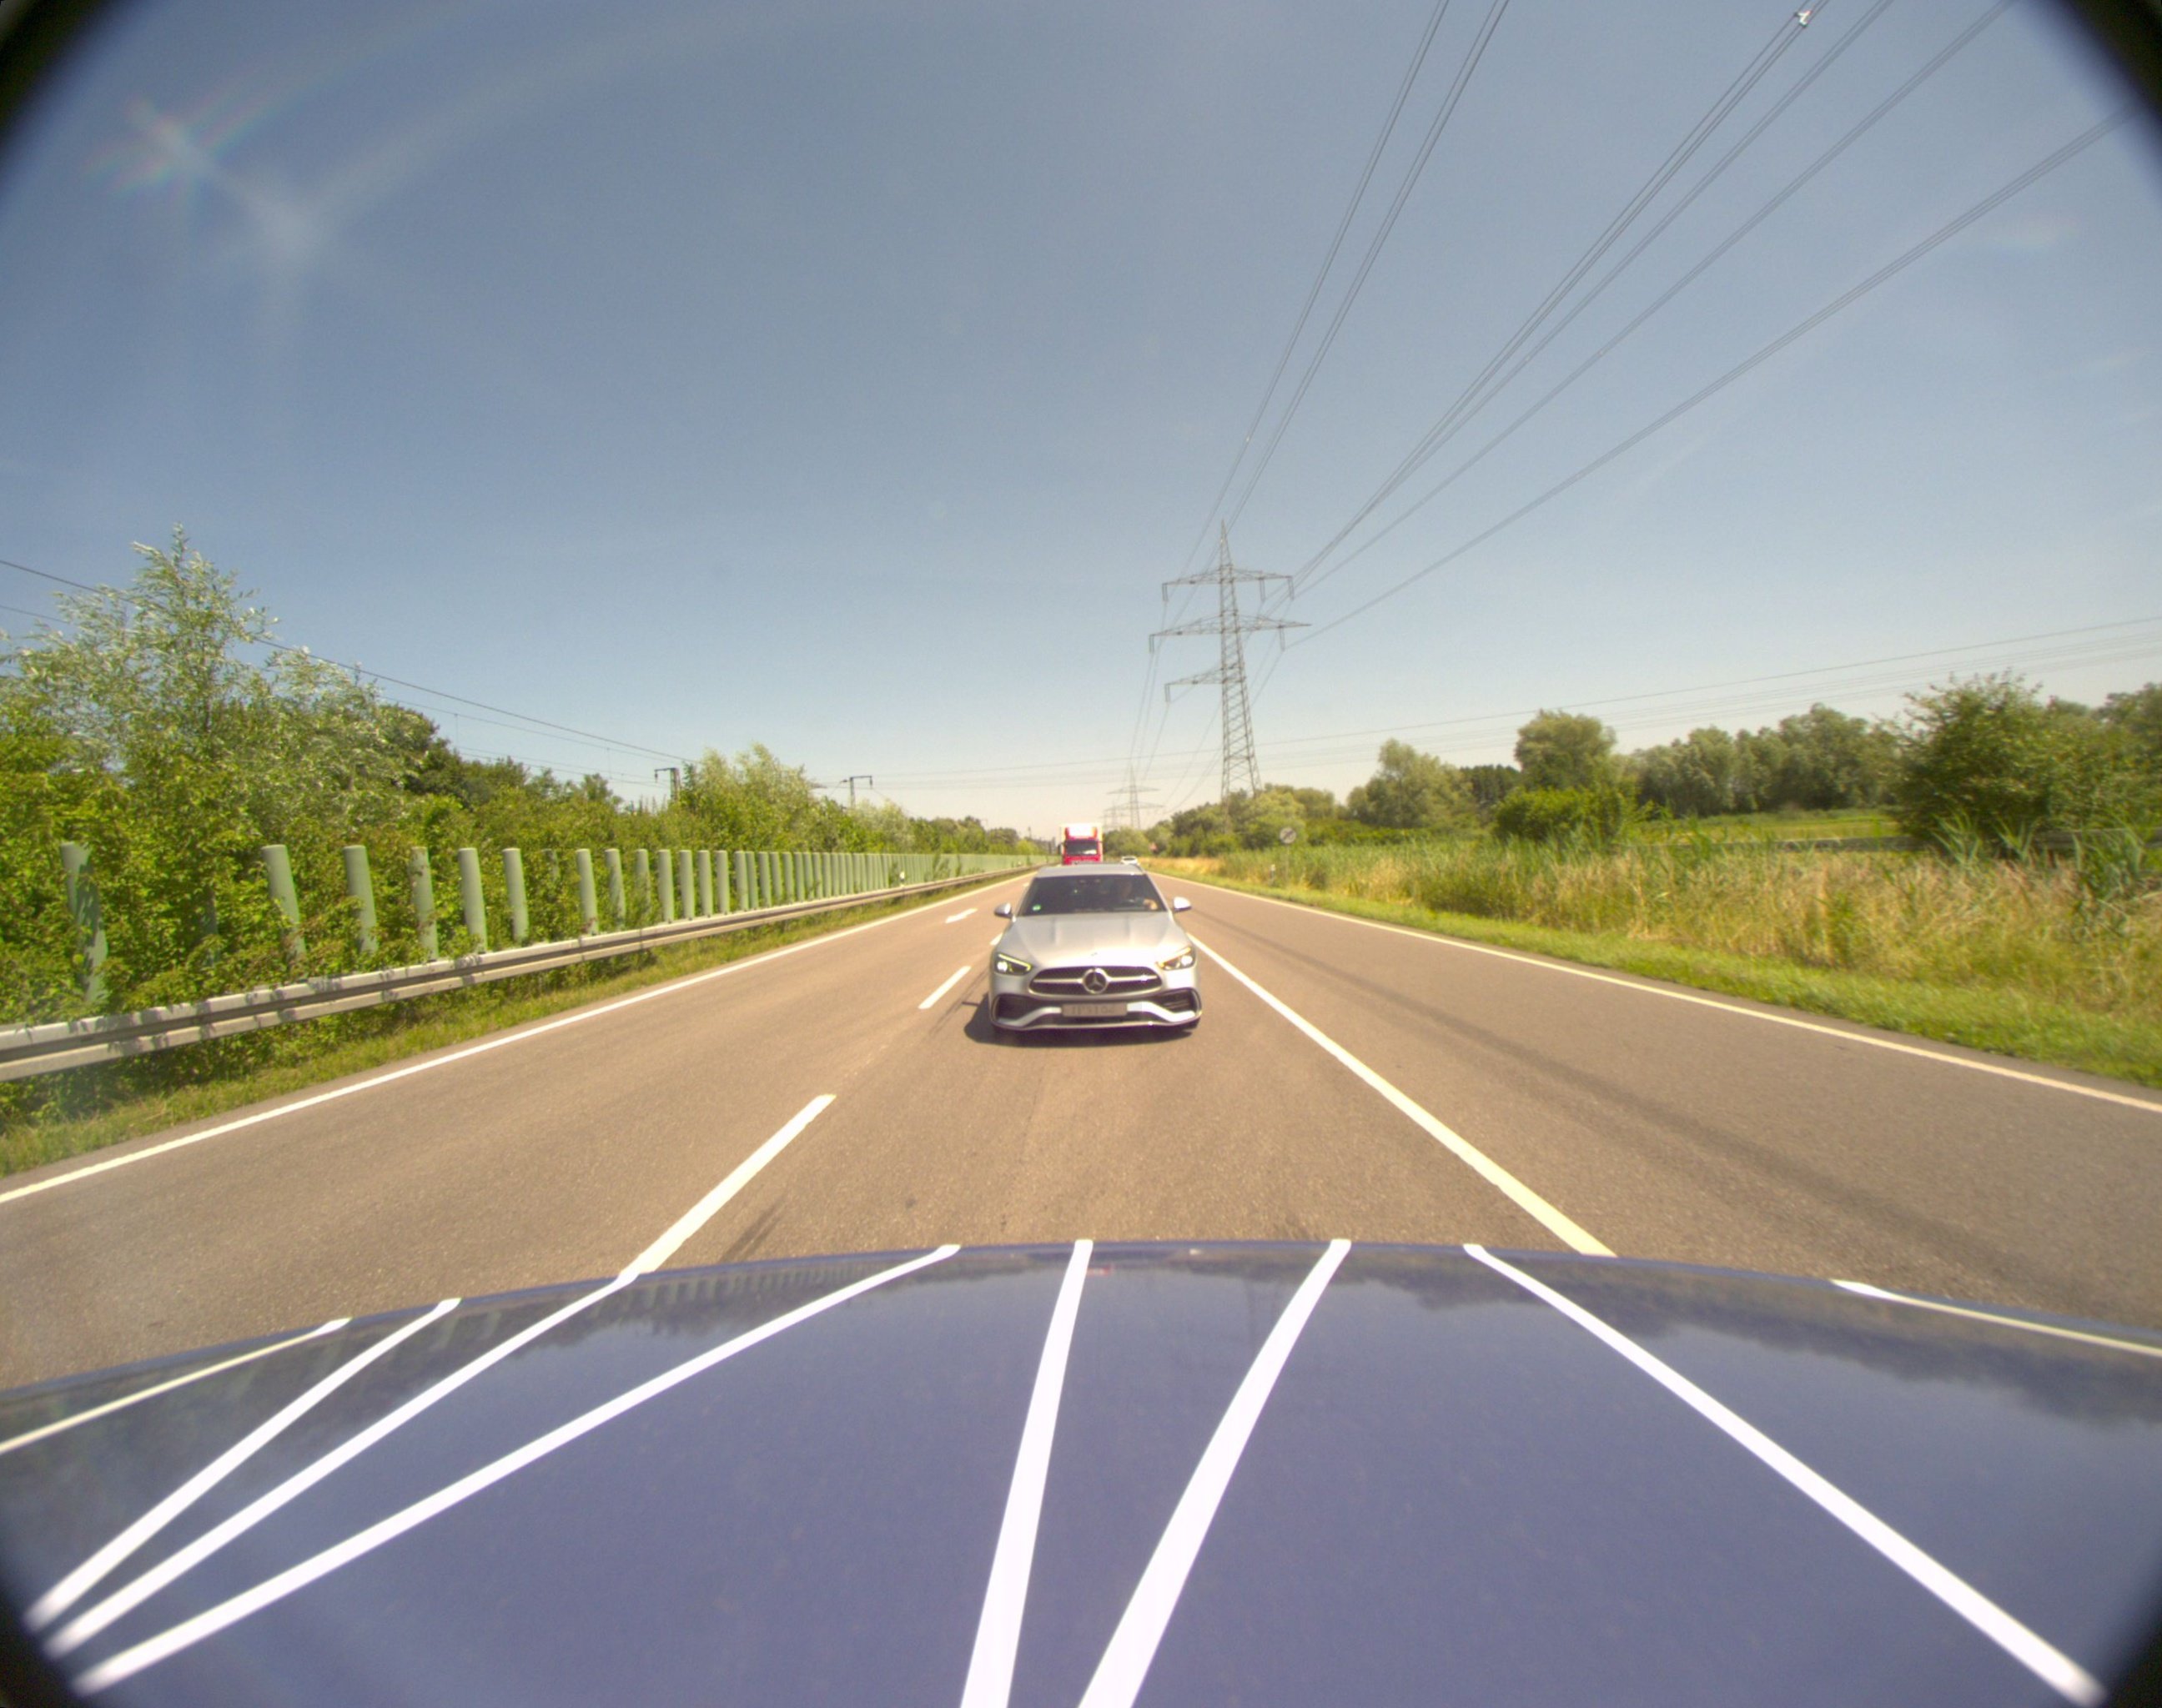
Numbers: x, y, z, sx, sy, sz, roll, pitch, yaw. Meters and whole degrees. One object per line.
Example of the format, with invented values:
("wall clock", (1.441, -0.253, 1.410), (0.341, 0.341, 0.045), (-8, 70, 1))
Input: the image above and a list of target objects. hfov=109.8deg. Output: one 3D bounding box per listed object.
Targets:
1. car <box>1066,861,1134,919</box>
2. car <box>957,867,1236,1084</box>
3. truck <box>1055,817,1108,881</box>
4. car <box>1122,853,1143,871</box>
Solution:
("car", (0.550, 0.949, 21.982), (1.698, 1.385, 4.467), (-2, 0, 1))
("car", (0.147, 0.930, 7.794), (1.998, 1.437, 4.467), (-2, 0, 1))
("truck", (0.118, -0.287, 48.943), (2.907, 3.641, 7.156), (-4, 0, 1))
("car", (4.796, 0.723, 70.514), (1.729, 1.432, 4.250), (-4, 0, 4))
